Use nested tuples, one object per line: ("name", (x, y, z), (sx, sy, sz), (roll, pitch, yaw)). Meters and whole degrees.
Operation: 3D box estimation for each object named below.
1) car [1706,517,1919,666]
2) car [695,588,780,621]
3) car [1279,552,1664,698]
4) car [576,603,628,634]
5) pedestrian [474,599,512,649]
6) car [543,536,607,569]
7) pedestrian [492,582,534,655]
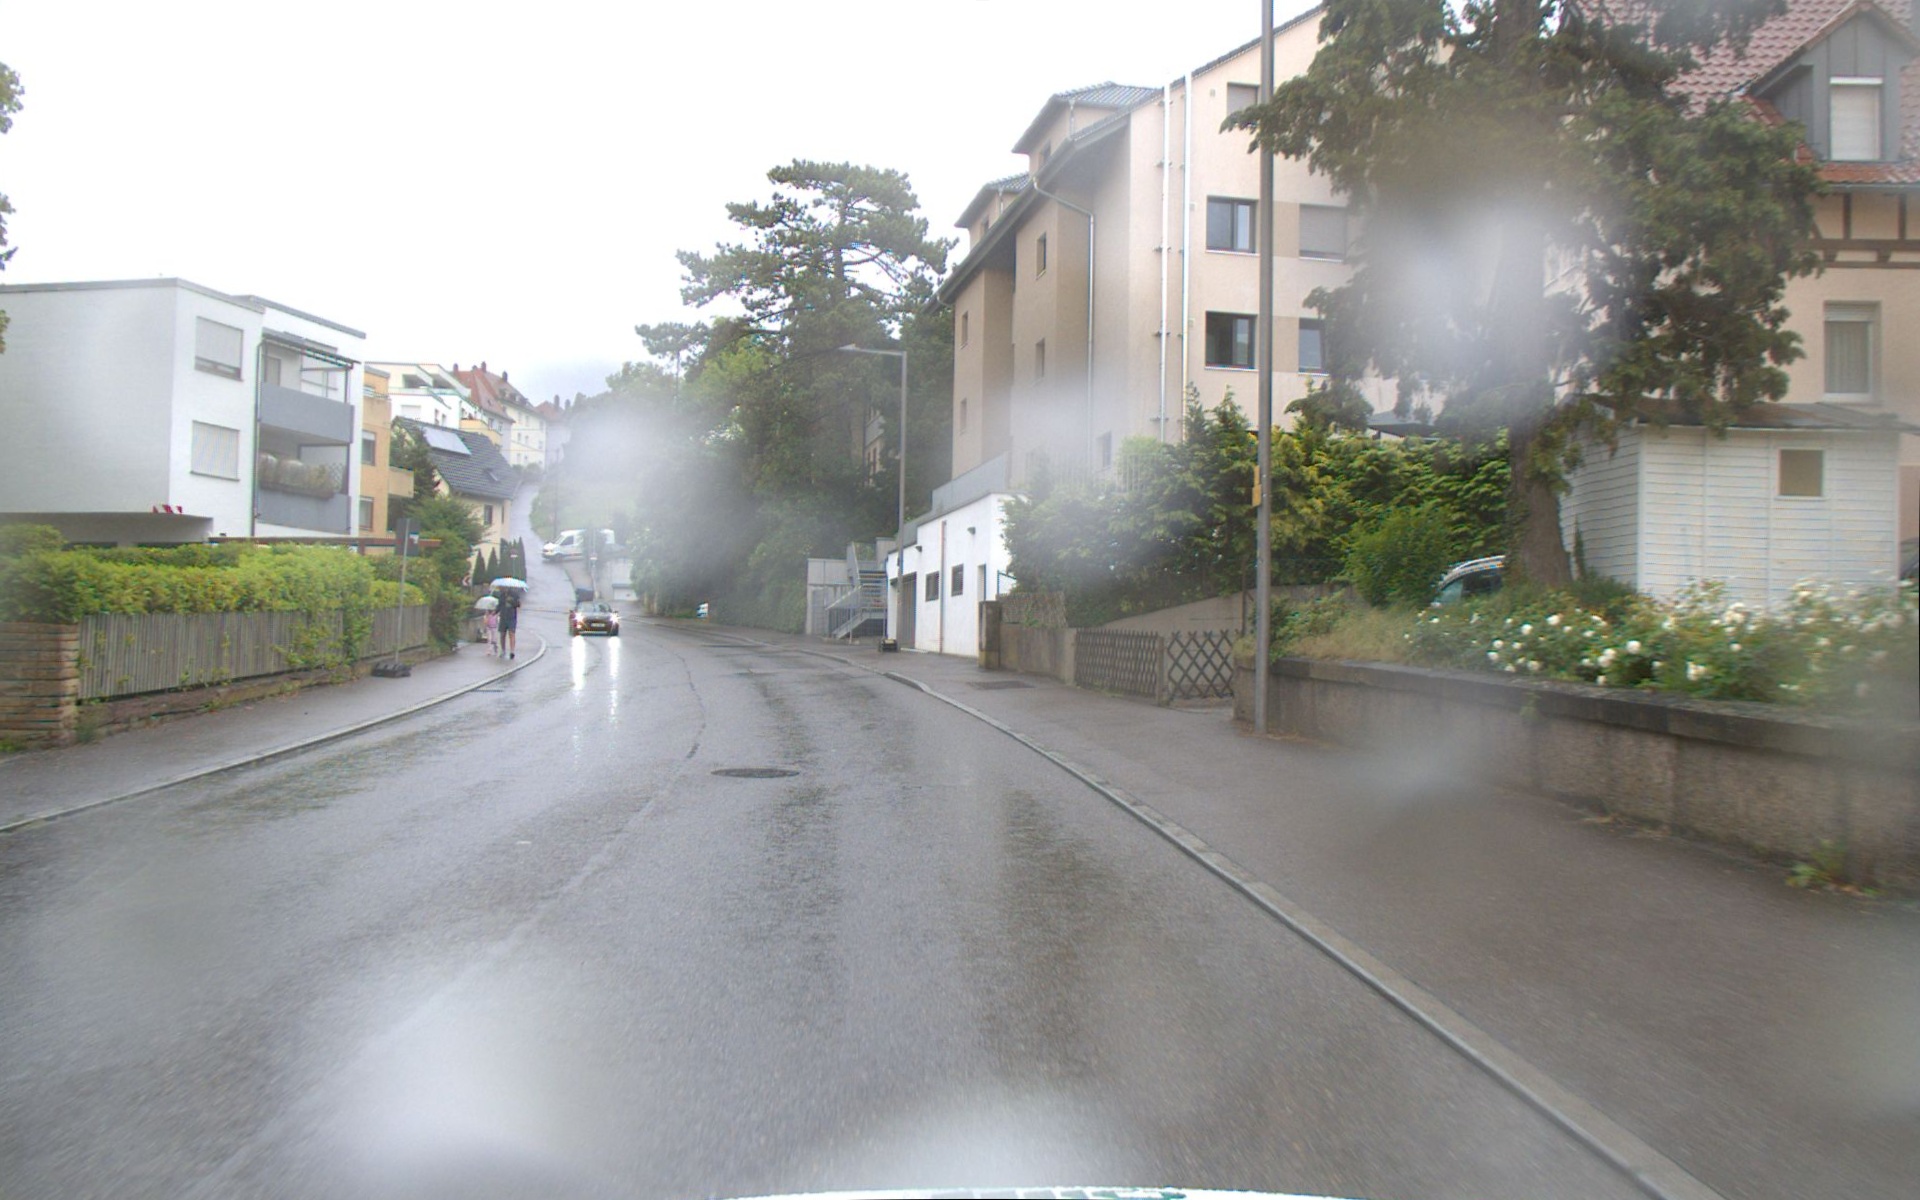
("car", (11.654, -0.160, 20.602), (3.775, 1.682, 1.963), (-3, 0, -1))
("car", (-11.521, 0.218, 85.550), (4.081, 1.502, 1.894), (-2, 1, -19))
("car", (6.270, 0.296, 20.680), (4.227, 1.682, 1.964), (-1, 0, 2))
("car", (-13.950, 0.708, 64.599), (1.647, 1.166, 3.993), (0, 0, -8))
("pedestrian", (-11.214, 0.568, 39.738), (0.742, 1.200, 1.037), (1, 0, -10))
("car", (-31.674, -3.892, 136.162), (4.876, 2.614, 1.891), (-2, 1, -23))
("pedestrian", (-10.479, 0.429, 38.796), (0.742, 1.672, 1.037), (3, -1, -10))
